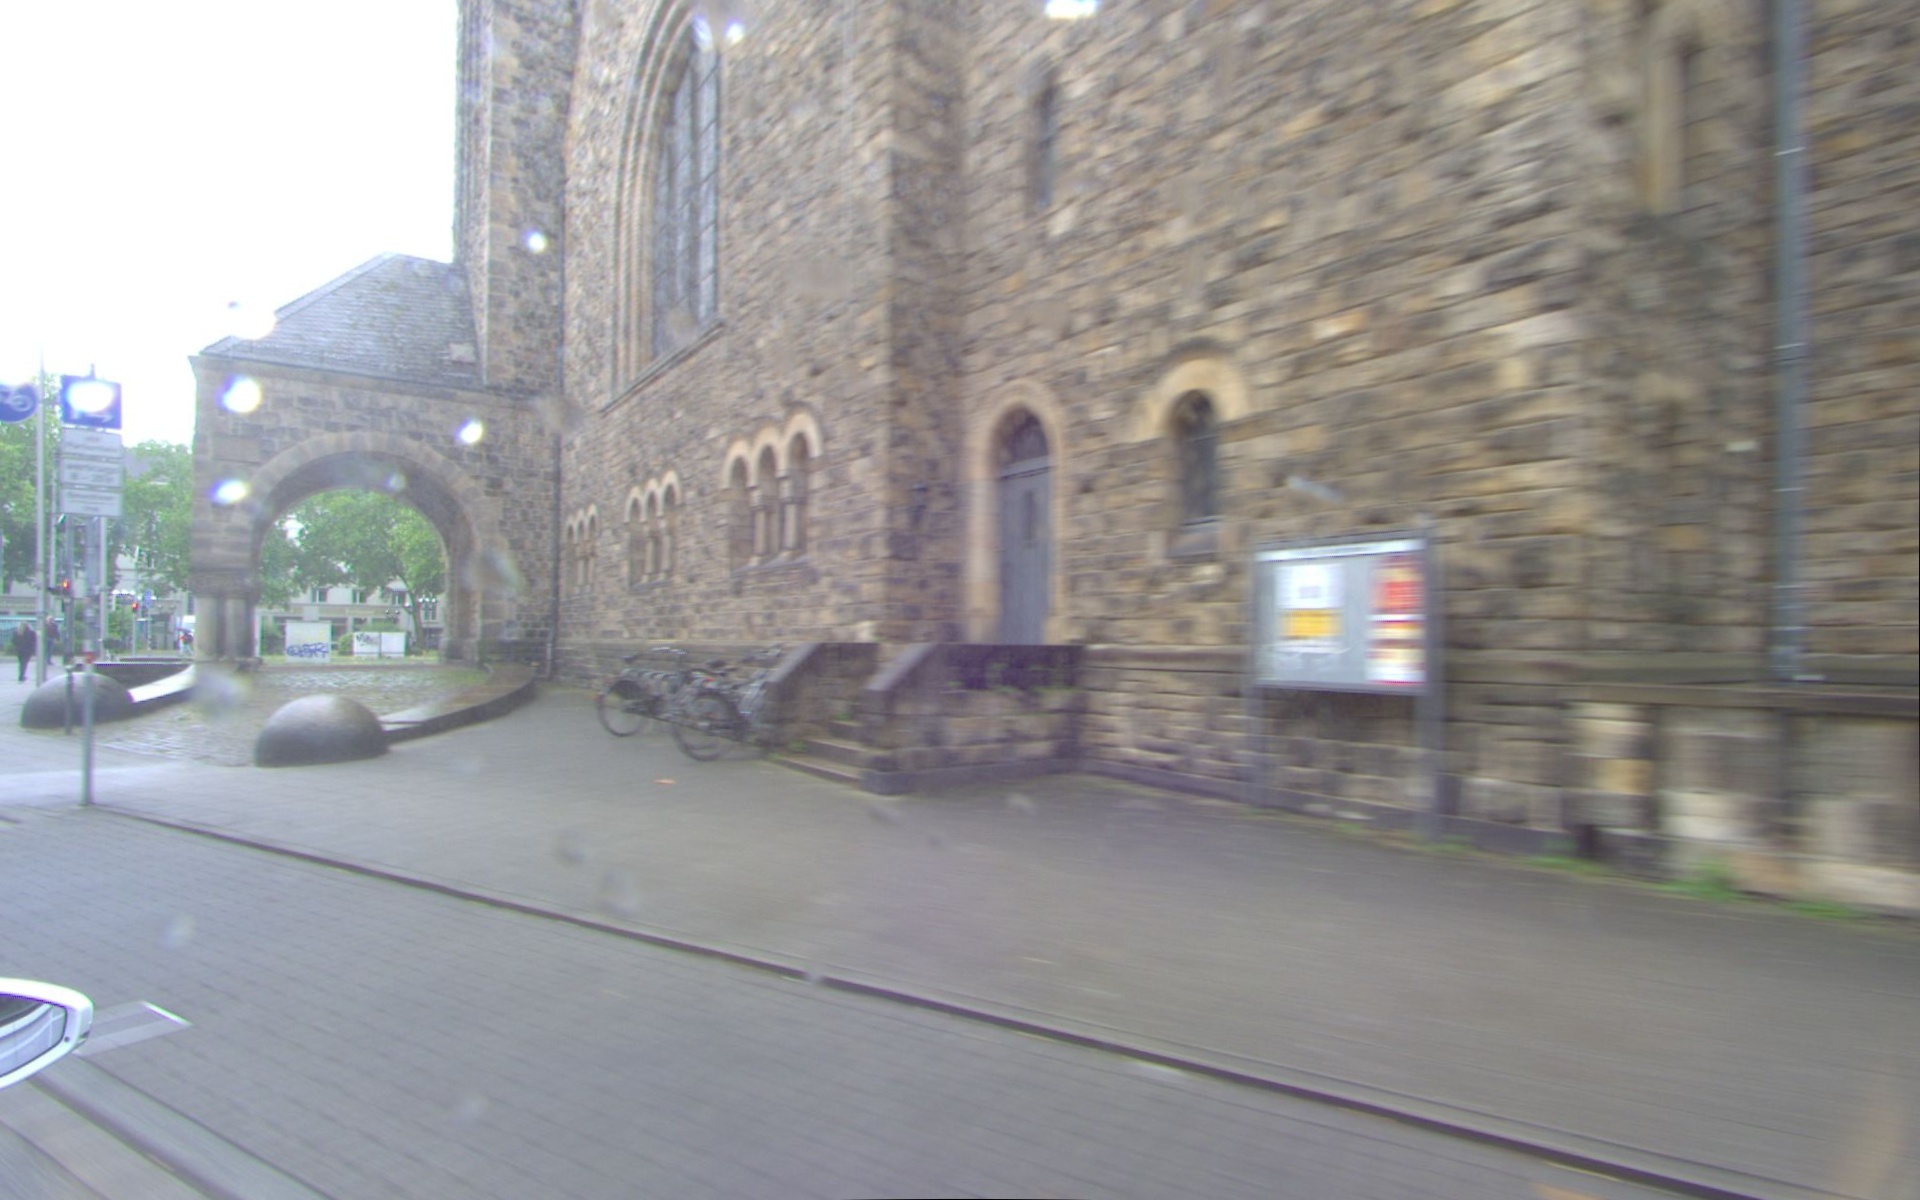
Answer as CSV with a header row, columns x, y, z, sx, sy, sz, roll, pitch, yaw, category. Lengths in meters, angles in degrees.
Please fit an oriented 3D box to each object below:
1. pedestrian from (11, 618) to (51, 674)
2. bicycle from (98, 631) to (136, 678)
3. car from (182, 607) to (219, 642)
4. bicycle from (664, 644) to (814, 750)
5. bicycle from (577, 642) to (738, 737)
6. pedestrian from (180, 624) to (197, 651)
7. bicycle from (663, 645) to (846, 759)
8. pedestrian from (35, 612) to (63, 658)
x,y,z,sx,sy,sz,roll,pitch,yaw,category
-27.856,1.366,30.028,0.775,1.667,0.650,1,-1,-35,pedestrian
-21.731,1.389,25.813,2.049,1.169,0.327,-1,-1,38,bicycle
-58.196,1.894,76.769,1.888,2.588,4.758,2,-2,-33,car
-2.602,1.110,11.925,1.697,1.126,0.556,0,0,-44,bicycle
-4.016,1.153,13.422,0.684,1.119,1.973,-1,0,43,bicycle
-46.402,2.252,60.250,0.666,1.573,0.758,1,-3,-29,pedestrian
-2.180,1.057,10.836,1.971,1.068,0.508,0,0,-44,bicycle
-35.174,1.347,38.682,0.780,1.782,0.937,1,-1,-42,pedestrian
